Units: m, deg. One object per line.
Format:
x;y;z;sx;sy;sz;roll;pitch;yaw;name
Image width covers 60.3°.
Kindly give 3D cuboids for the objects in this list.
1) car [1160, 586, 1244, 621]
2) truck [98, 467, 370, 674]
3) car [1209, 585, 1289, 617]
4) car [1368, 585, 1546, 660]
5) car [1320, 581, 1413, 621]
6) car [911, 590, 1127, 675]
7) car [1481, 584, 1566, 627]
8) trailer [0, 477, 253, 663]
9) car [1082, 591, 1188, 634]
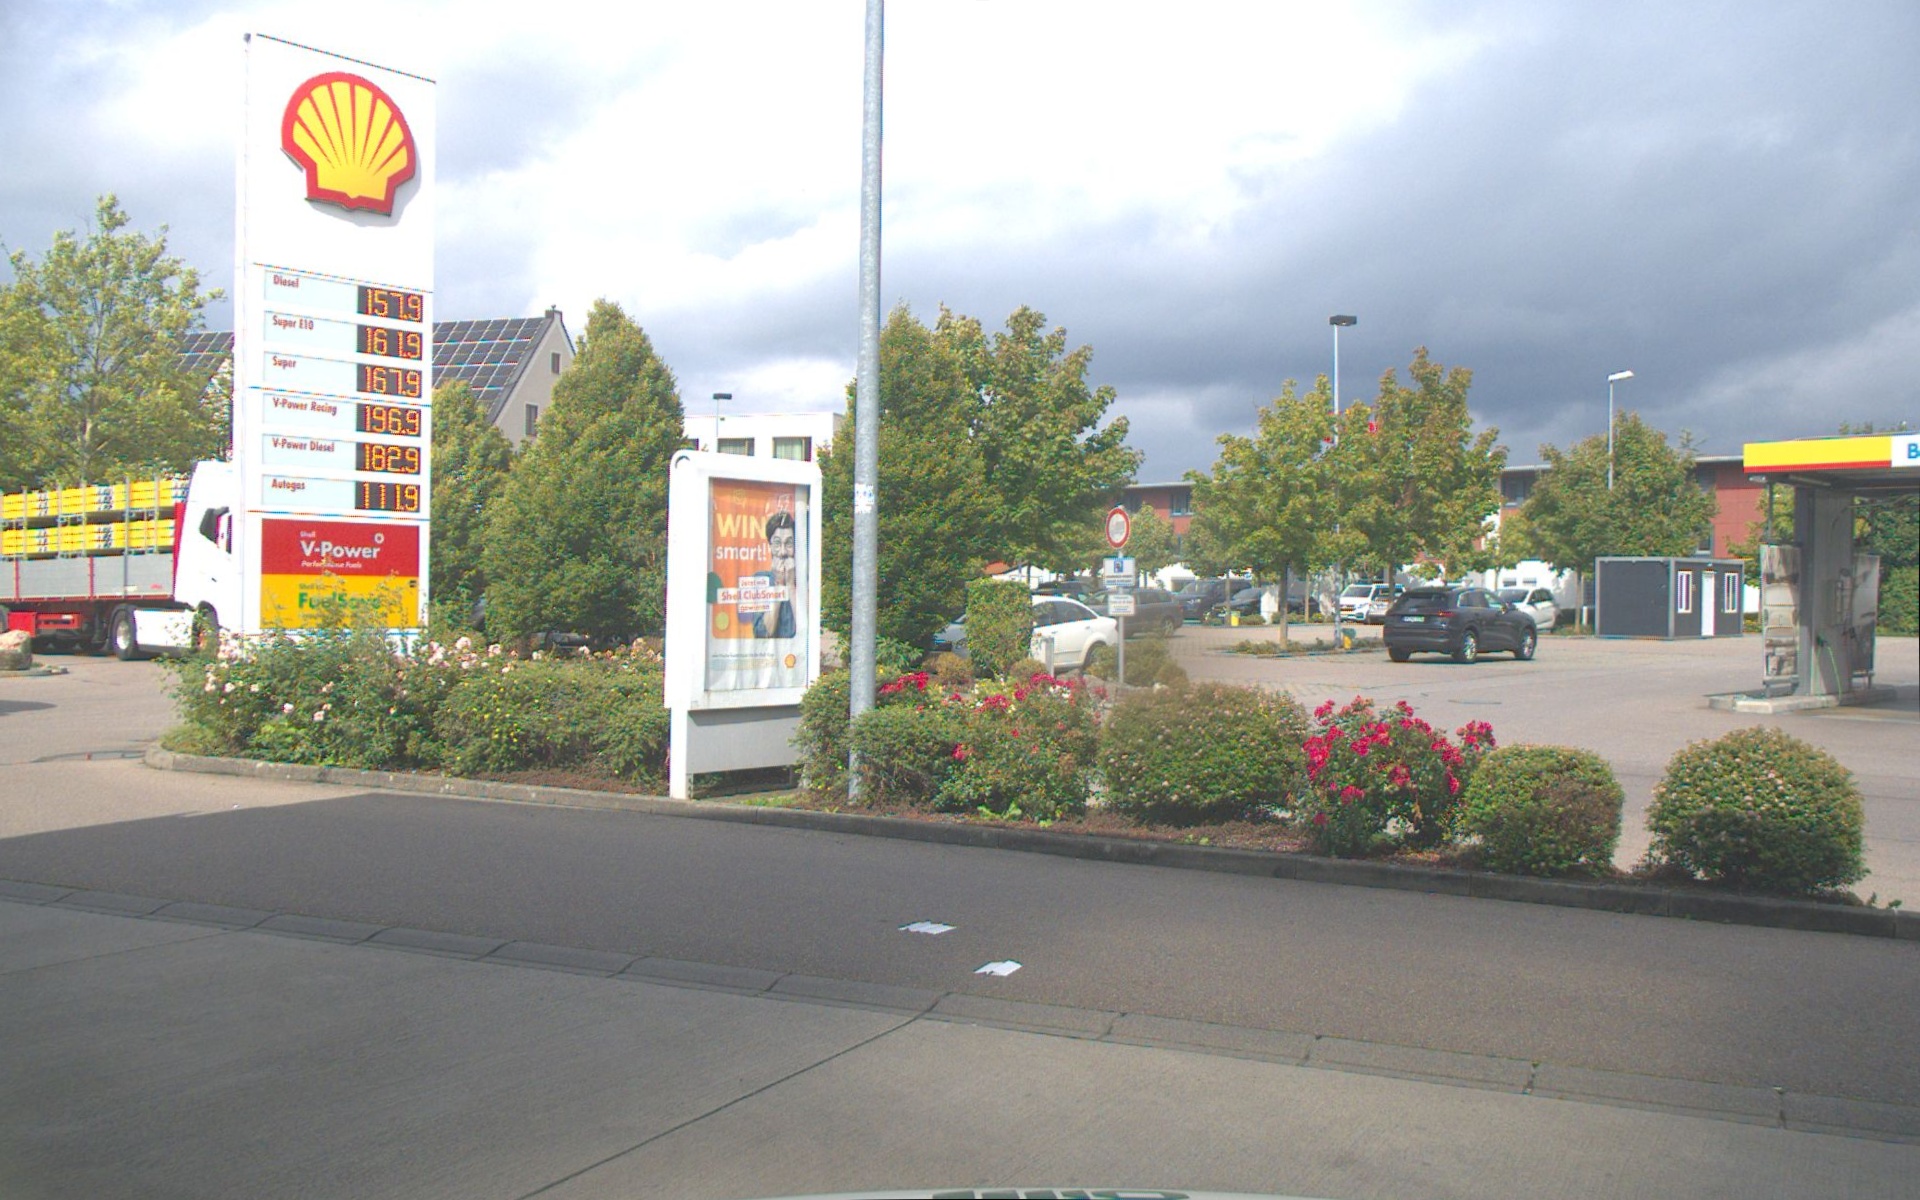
9.816;0.154;66.941;3.364;1.343;1.719;1;0;-45;car
-15.045;-0.577;34.132;5.805;3.913;2.729;1;-1;39;truck
11.418;0.051;65.219;3.393;1.199;1.462;1;0;-45;car
11.134;0.494;36.902;4.467;1.575;1.856;1;0;-44;car
19.921;0.048;80.954;4.839;1.865;2.150;1;0;-44;car
1.136;0.582;29.946;1.348;1.428;4.312;1;-1;45;car
18.012;0.181;52.815;3.080;1.330;1.346;1;-1;-45;car
-21.481;-0.668;38.863;12.453;3.842;2.730;1;0;35;trailer
5.283;0.374;49.802;3.203;1.249;1.481;1;0;-45;car
